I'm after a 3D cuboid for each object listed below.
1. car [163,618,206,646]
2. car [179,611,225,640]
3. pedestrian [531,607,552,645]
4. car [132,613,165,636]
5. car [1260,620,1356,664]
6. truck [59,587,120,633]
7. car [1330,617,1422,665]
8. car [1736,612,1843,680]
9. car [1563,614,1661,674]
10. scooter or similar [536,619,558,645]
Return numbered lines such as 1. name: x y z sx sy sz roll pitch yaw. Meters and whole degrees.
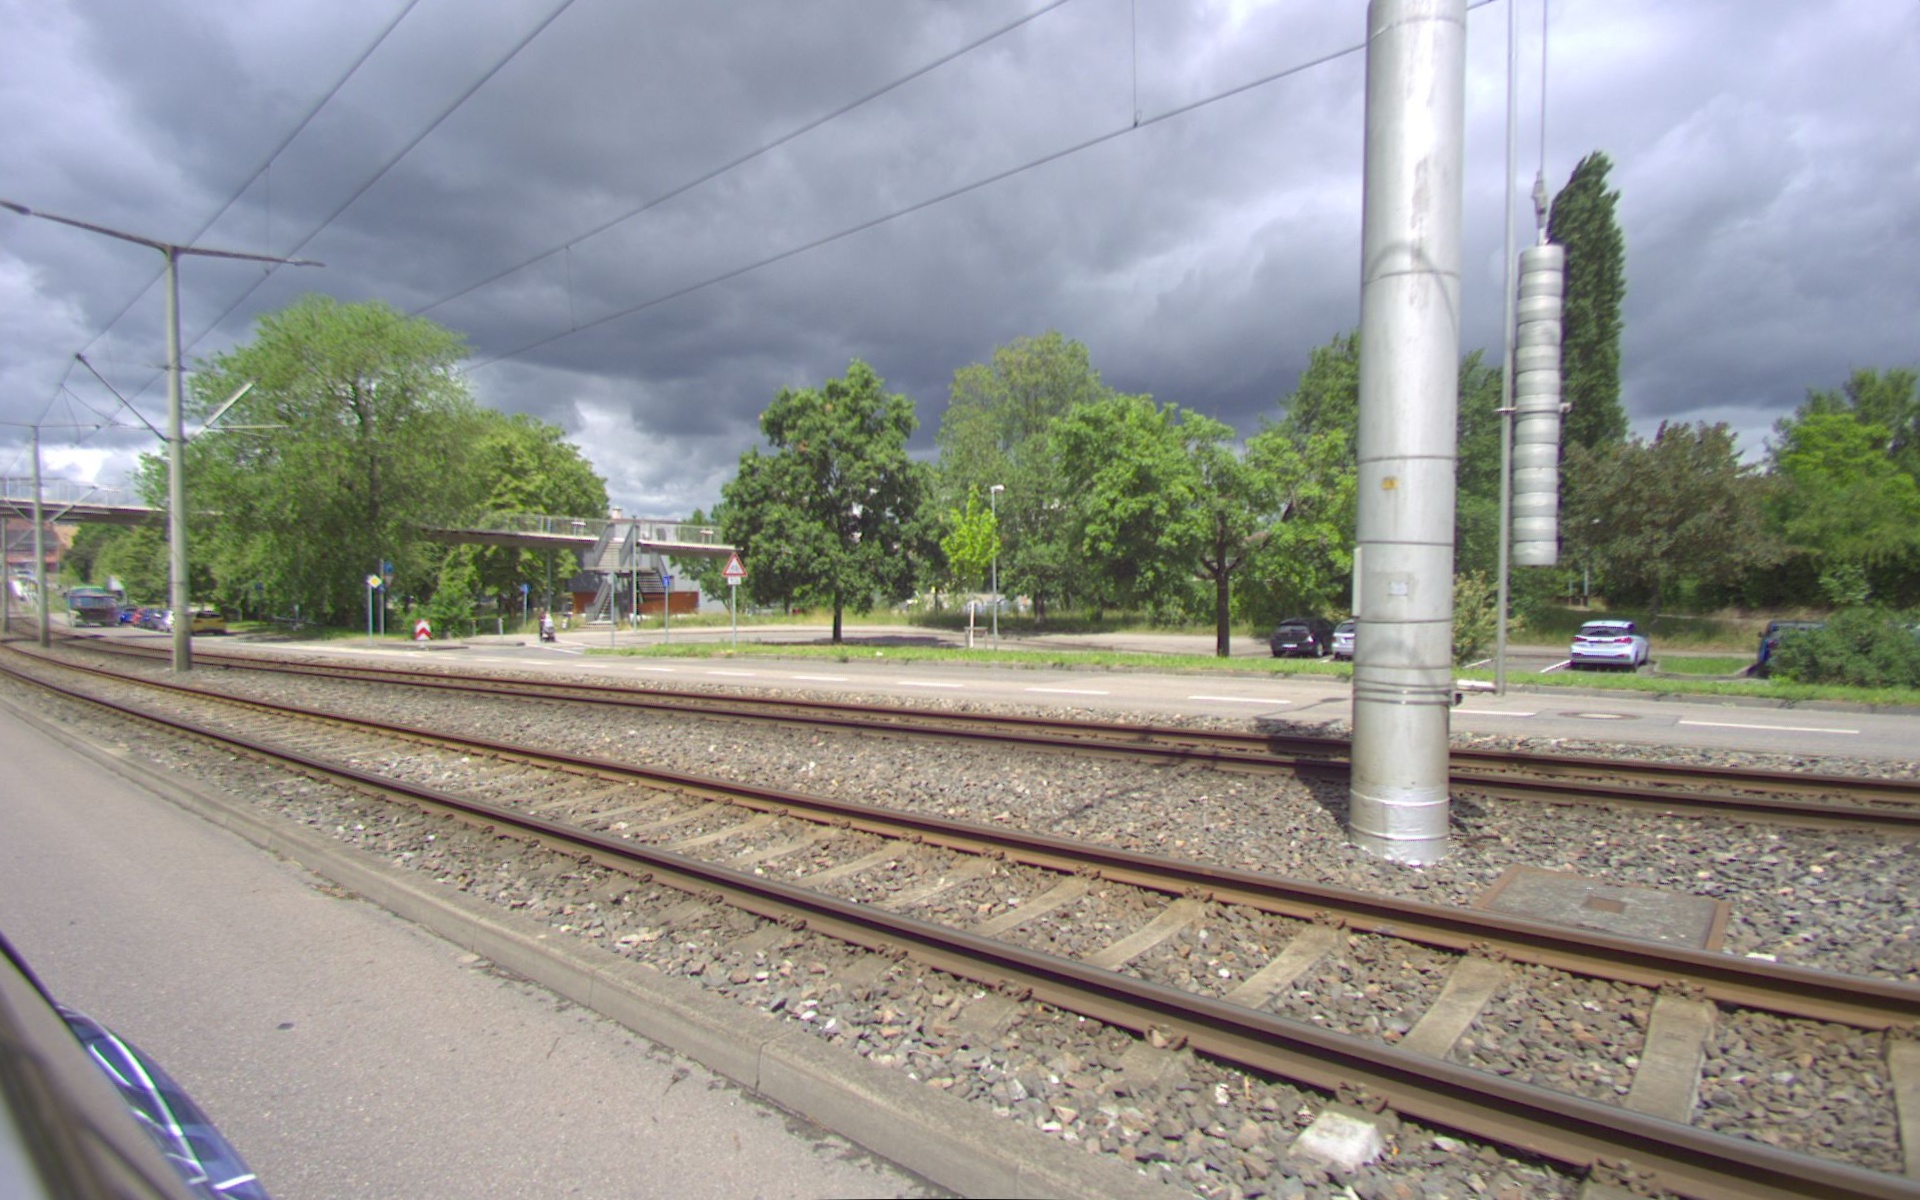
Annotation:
1. car: -48.366 1.947 63.111 1.670 1.461 3.901 -3 4 -44
2. car: -44.961 1.488 59.990 1.670 1.461 3.901 -3 4 -44
3. pedestrian: -20.393 1.266 49.302 0.653 1.768 0.718 -3 3 -44
4. car: -60.155 1.805 75.011 1.539 1.608 4.163 1 -1 -44
5. car: 13.129 1.531 38.126 3.917 1.286 1.780 -3 3 -42
6. truck: -68.456 0.684 79.488 9.036 3.344 2.839 1 3 45
7. car: 14.913 1.423 36.200 3.823 1.401 1.575 -3 3 -42
8. car: 23.541 1.249 28.690 3.908 1.592 1.871 -3 1 -44
9. car: 20.383 1.327 31.561 1.843 1.592 3.873 -2 1 43
10. scooter or similar: -19.755 1.516 48.376 0.702 1.155 0.788 -3 3 -43
